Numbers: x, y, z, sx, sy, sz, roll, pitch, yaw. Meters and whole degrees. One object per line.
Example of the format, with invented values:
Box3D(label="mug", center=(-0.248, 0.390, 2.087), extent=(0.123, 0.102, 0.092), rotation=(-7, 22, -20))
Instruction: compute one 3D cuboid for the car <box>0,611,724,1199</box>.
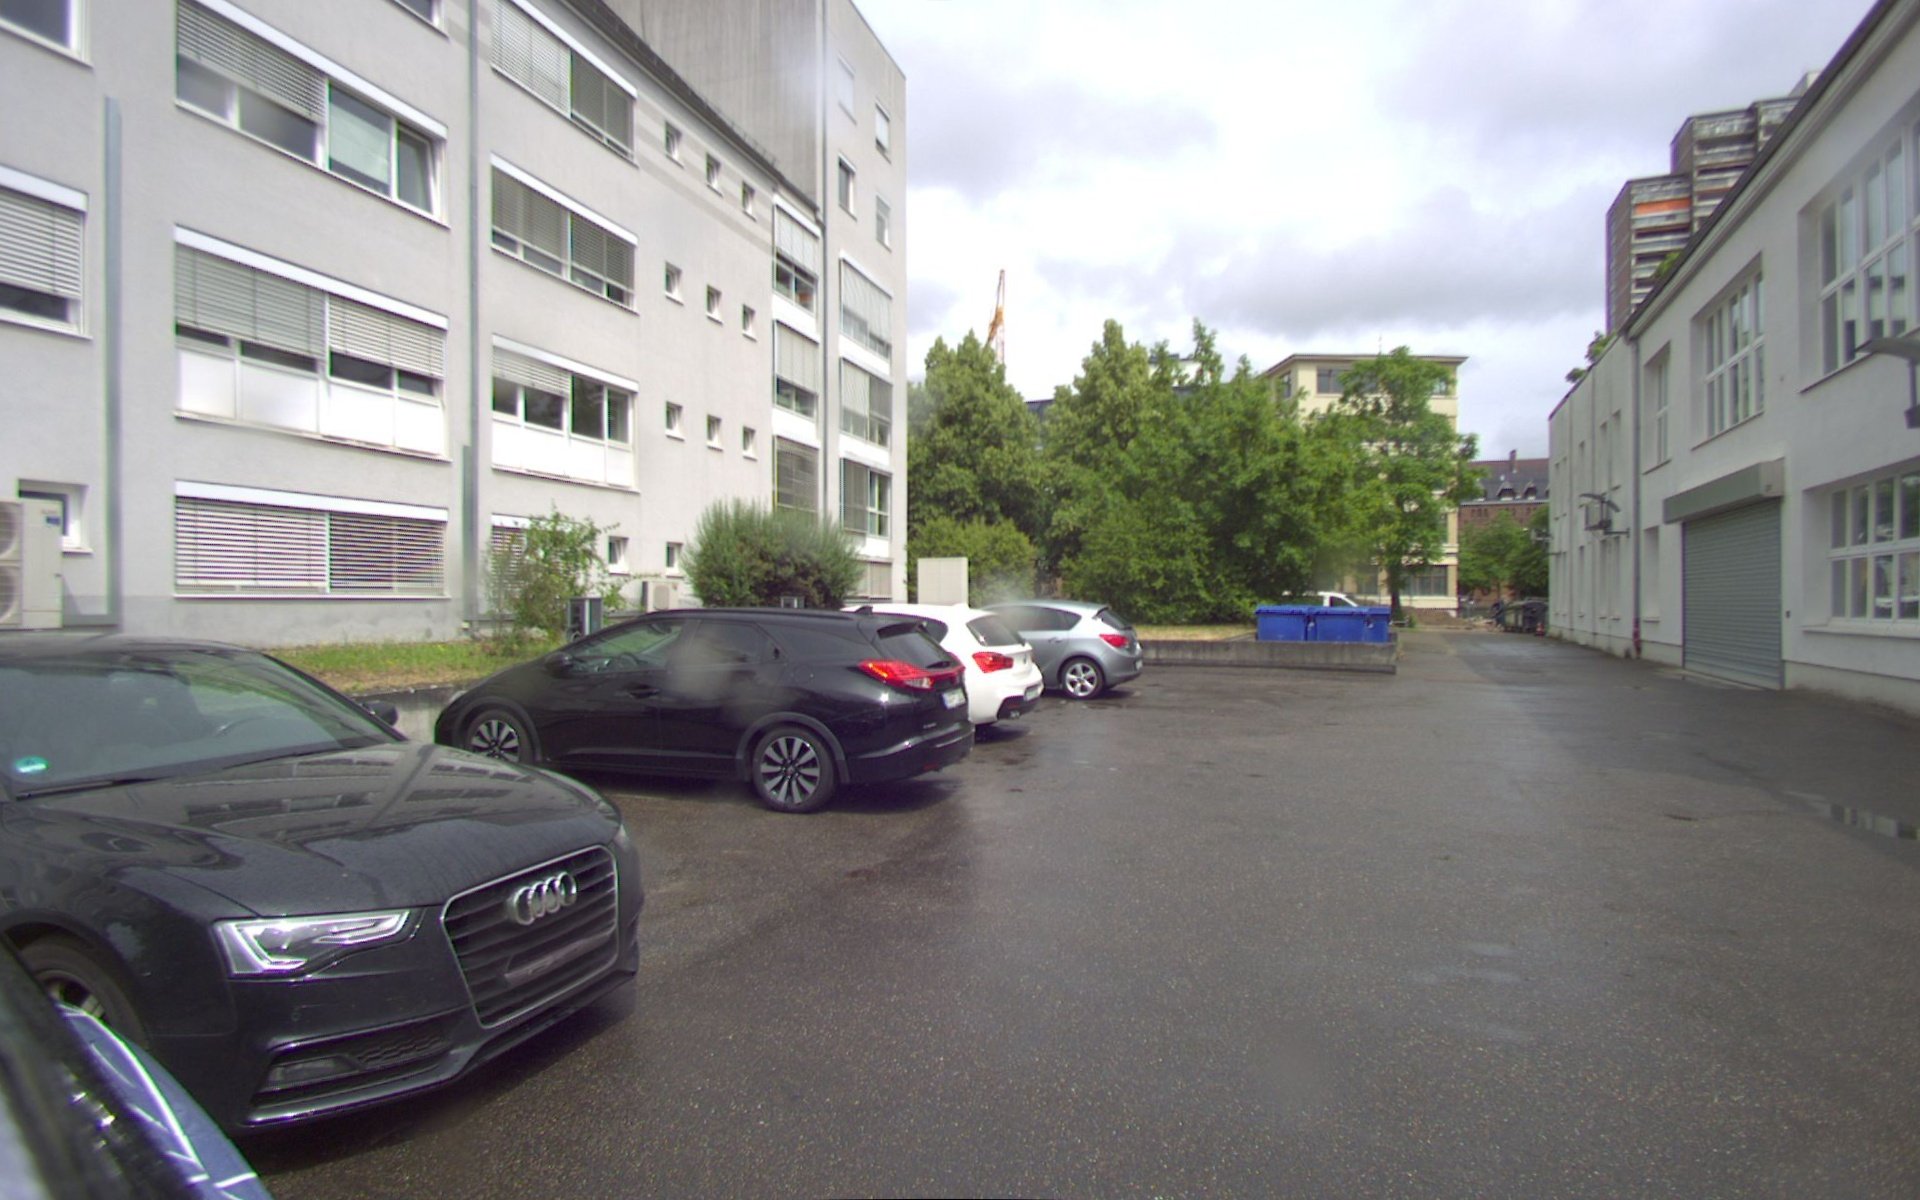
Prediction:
Box3D(label="car", center=(-3.297, 0.765, 3.760), extent=(4.493, 1.362, 1.752), rotation=(1, 1, 19))

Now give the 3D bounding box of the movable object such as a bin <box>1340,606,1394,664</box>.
Box3D(label="movable object such as a bin", center=(9.977, 0.841, 24.781), extent=(1.125, 1.338, 1.197), rotation=(-1, 0, 27))

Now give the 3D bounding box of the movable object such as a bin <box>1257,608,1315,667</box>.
Box3D(label="movable object such as a bin", center=(7.697, 0.865, 23.902), extent=(1.125, 1.338, 1.197), rotation=(-1, 0, 27))

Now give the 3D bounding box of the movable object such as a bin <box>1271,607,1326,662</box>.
Box3D(label="movable object such as a bin", center=(8.492, 0.849, 25.363), extent=(1.125, 1.338, 1.197), rotation=(-1, 0, 27))

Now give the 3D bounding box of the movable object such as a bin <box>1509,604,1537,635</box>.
Box3D(label="movable object such as a bin", center=(25.706, 0.882, 46.224), extent=(1.041, 1.366, 1.197), rotation=(-1, 0, 27))

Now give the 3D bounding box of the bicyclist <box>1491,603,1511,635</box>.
Box3D(label="bicyclist", center=(28.909, 0.987, 54.080), extent=(0.745, 1.691, 0.594), rotation=(-1, 0, -18))

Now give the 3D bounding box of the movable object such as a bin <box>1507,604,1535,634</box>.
Box3D(label="movable object such as a bin", center=(26.267, 0.870, 47.394), extent=(1.058, 1.366, 1.207), rotation=(-1, 0, 27))

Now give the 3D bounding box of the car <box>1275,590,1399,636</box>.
Box3D(label="car", center=(14.627, 0.506, 39.358), extent=(4.315, 1.740, 1.706), rotation=(-1, 0, 29))

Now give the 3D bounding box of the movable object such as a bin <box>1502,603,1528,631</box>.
Box3D(label="movable object such as a bin", center=(27.465, 0.845, 50.066), extent=(1.061, 1.366, 1.253), rotation=(-1, 0, 27))

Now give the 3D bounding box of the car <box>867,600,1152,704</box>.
Box3D(label="car", center=(0.817, 0.757, 16.209), extent=(4.279, 1.453, 1.753), rotation=(1, 0, 18))

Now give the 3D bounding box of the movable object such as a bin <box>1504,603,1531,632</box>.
Box3D(label="movable object such as a bin", center=(26.894, 0.857, 48.831), extent=(1.061, 1.366, 1.253), rotation=(-1, 0, 27))

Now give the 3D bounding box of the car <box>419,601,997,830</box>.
Box3D(label="car", center=(-1.987, 0.767, 8.189), extent=(4.279, 1.453, 1.753), rotation=(1, 0, 18))

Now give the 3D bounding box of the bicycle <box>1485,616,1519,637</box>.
Box3D(label="bicycle", center=(28.966, 1.404, 54.098), extent=(1.683, 1.046, 0.544), rotation=(-1, 0, -17))

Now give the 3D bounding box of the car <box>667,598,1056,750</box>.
Box3D(label="car", center=(-1.095, 0.733, 11.477), extent=(4.093, 1.453, 1.686), rotation=(1, 0, 19))

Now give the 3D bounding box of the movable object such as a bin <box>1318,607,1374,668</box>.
Box3D(label="movable object such as a bin", center=(8.902, 0.852, 23.336), extent=(1.090, 1.335, 1.197), rotation=(-1, 0, 27))

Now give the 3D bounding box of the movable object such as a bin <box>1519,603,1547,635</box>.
Box3D(label="movable object such as a bin", center=(25.200, 0.847, 44.514), extent=(0.974, 1.366, 0.911), rotation=(-1, 0, 27))
